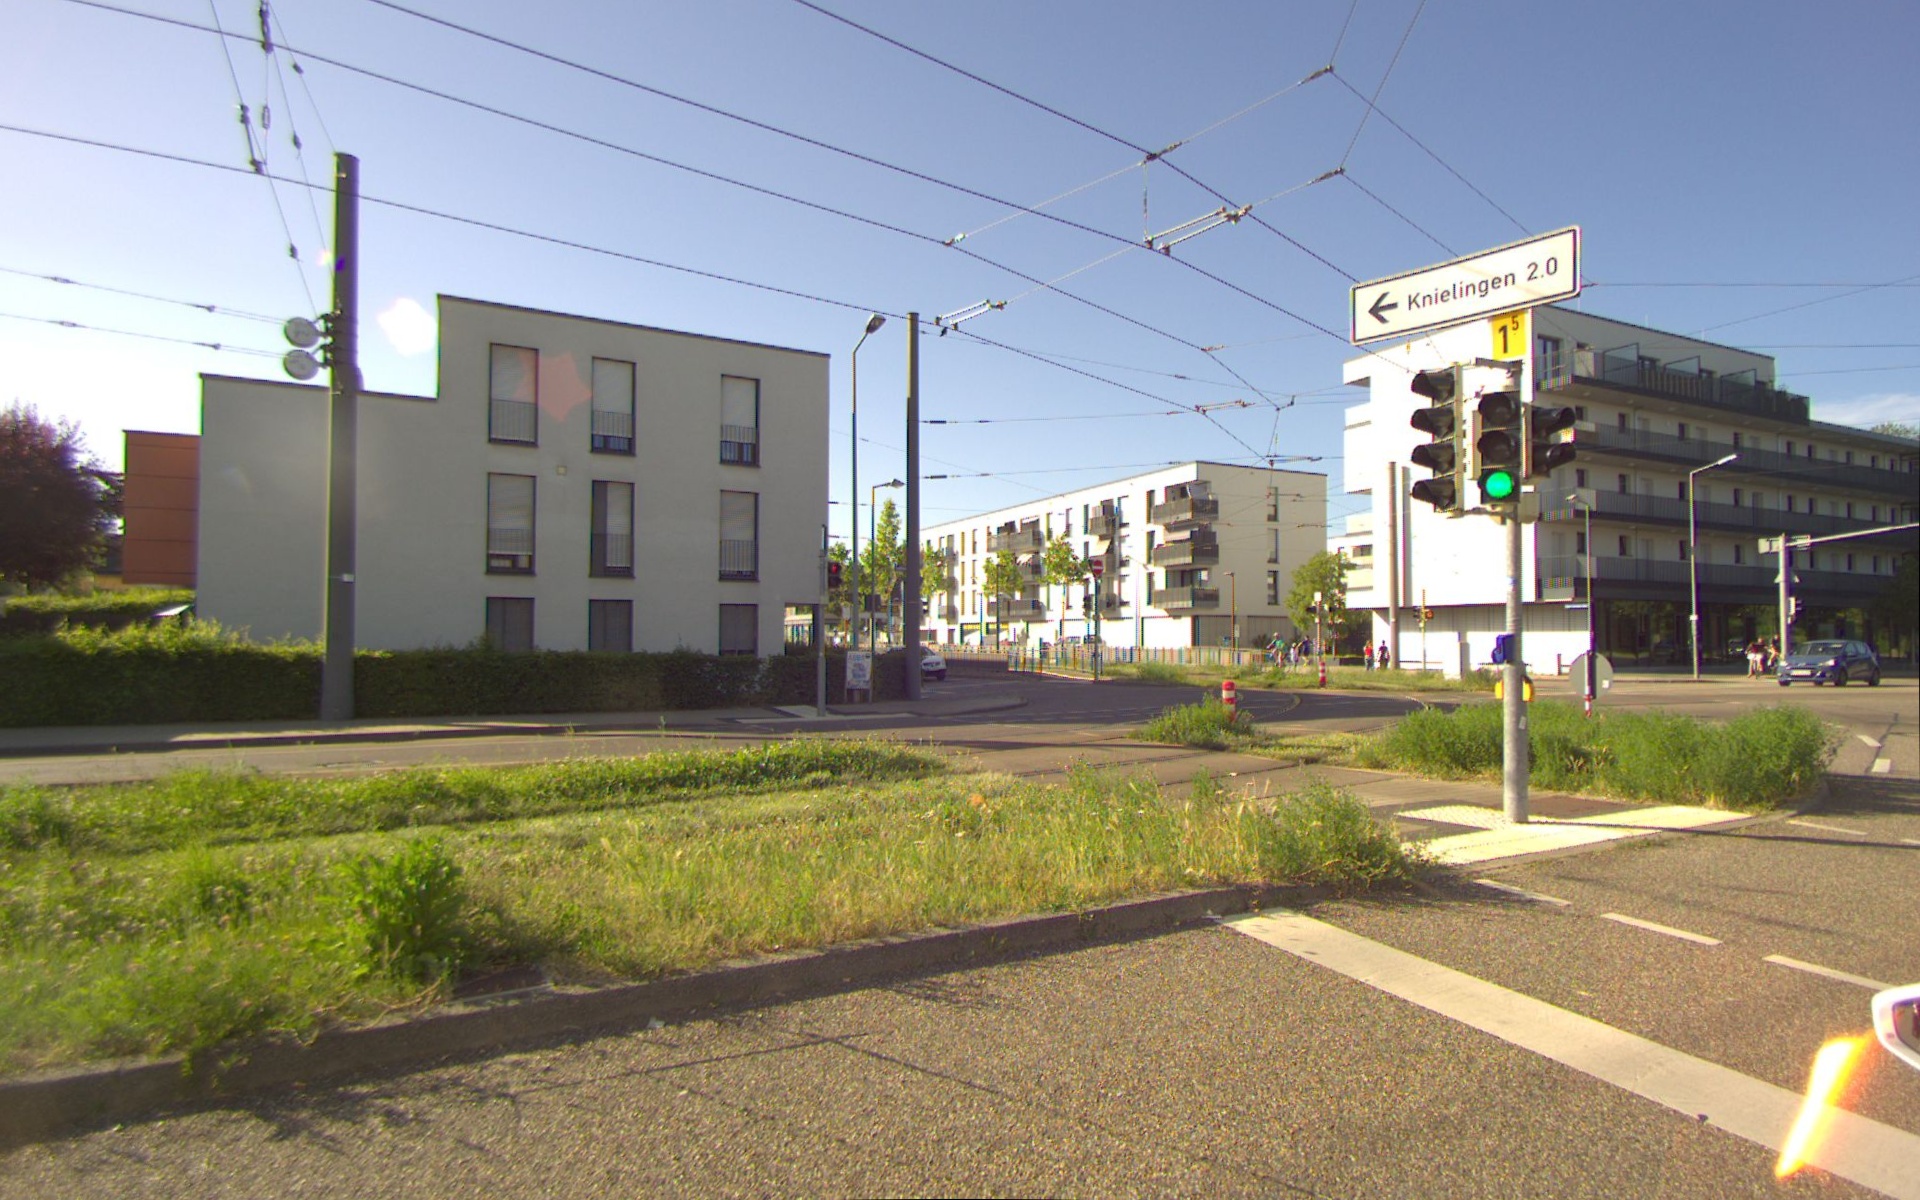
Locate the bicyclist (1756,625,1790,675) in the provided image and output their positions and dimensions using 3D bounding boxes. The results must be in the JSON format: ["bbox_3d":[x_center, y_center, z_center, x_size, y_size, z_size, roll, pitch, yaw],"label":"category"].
[{"bbox_3d":[33.076,2.033,40.882,0.795,2.040,0.795,-1,-2,20],"label":"bicyclist"}]

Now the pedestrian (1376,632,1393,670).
[{"bbox_3d":[18.773,2.260,44.429,0.498,1.644,0.454,1,0,-30],"label":"pedestrian"}]

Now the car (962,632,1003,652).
[{"bbox_3d":[1.899,3.593,87.175,1.973,1.574,3.975,1,-1,-25],"label":"car"}]

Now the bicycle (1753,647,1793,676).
[{"bbox_3d":[33.091,2.495,40.902,0.730,1.159,1.643,-1,-2,20],"label":"bicycle"}]

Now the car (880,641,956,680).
[{"bbox_3d":[-1.945,2.685,45.367,1.984,1.687,3.972,1,-2,-28],"label":"car"}]

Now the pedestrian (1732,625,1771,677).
[{"bbox_3d":[31.854,2.037,40.419,0.751,2.040,0.972,1,-2,-30],"label":"pedestrian"}]

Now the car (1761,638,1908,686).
[{"bbox_3d":[28.342,1.965,32.564,4.385,1.475,1.693,1,-2,-21],"label":"car"}]

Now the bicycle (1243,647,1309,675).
[{"bbox_3d":[13.949,2.689,44.313,2.782,1.214,0.900,1,-2,-20],"label":"bicycle"}]

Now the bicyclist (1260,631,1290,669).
[{"bbox_3d":[13.905,2.202,44.318,0.899,1.613,0.891,1,-2,-19],"label":"bicyclist"}]
